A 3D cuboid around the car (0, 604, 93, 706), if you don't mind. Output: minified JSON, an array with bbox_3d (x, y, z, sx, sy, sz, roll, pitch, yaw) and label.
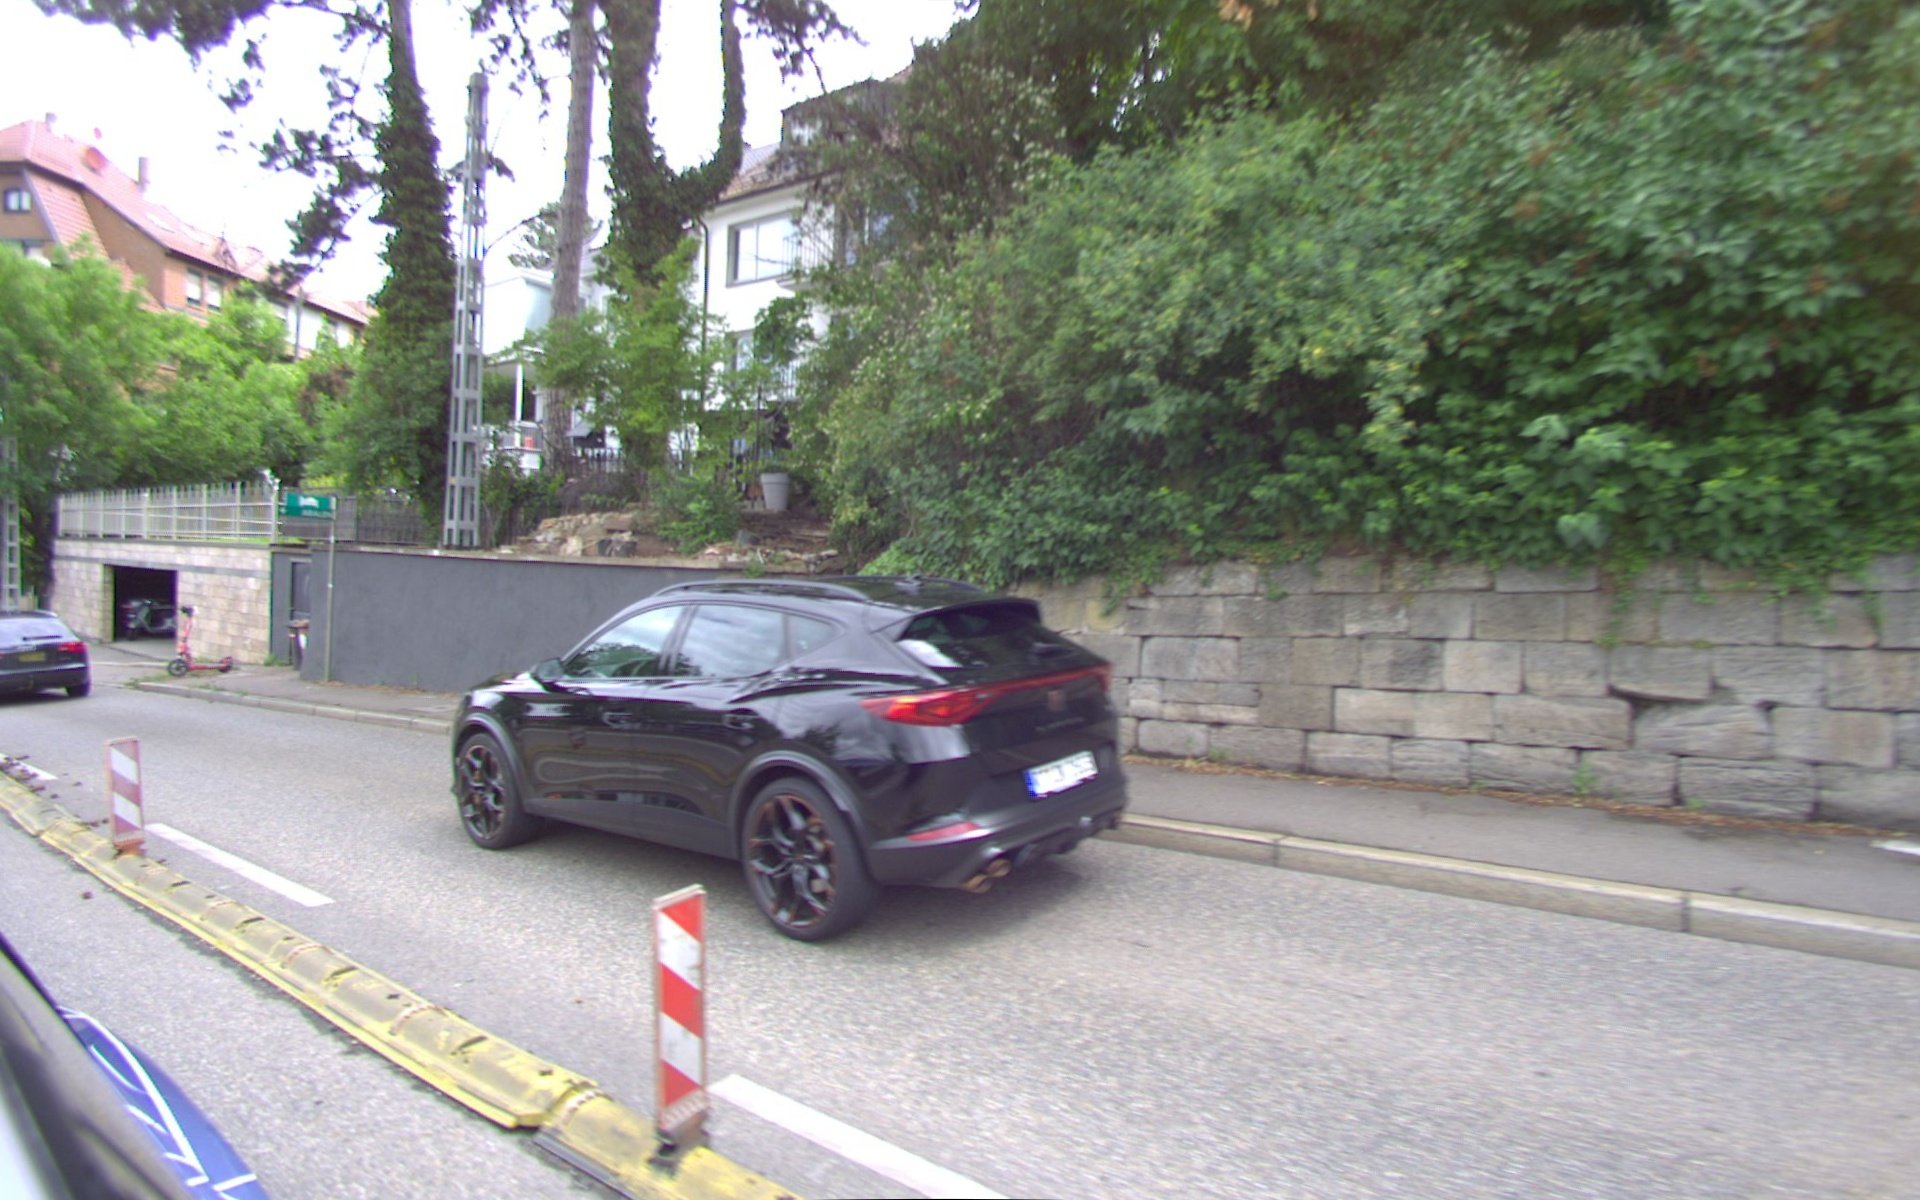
[{"bbox_3d":[-15.945,0.866,16.479,4.501,1.475,1.775,-1,1,36],"label":"car"}]

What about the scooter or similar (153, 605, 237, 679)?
[{"bbox_3d":[-13.627,0.729,18.063,0.488,1.242,1.213,-1,1,4],"label":"scooter or similar"}]

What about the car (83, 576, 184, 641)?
[{"bbox_3d":[-24.736,0.202,30.274,3.583,1.616,1.554,5,5,38],"label":"car"}]

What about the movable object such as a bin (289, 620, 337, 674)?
[{"bbox_3d":[-11.749,0.840,18.370,0.600,0.946,0.538,-1,1,36],"label":"movable object such as a bin"}]

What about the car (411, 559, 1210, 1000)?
[{"bbox_3d":[-1.054,0.599,5.483,4.312,1.496,1.811,-1,1,38],"label":"car"}]

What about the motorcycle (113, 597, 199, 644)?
[{"bbox_3d":[-22.989,0.568,28.965,0.637,1.191,1.820,5,5,40],"label":"motorcycle"}]

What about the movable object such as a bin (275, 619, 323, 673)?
[{"bbox_3d":[-12.233,0.837,18.732,0.600,0.946,0.538,-1,1,36],"label":"movable object such as a bin"}]
